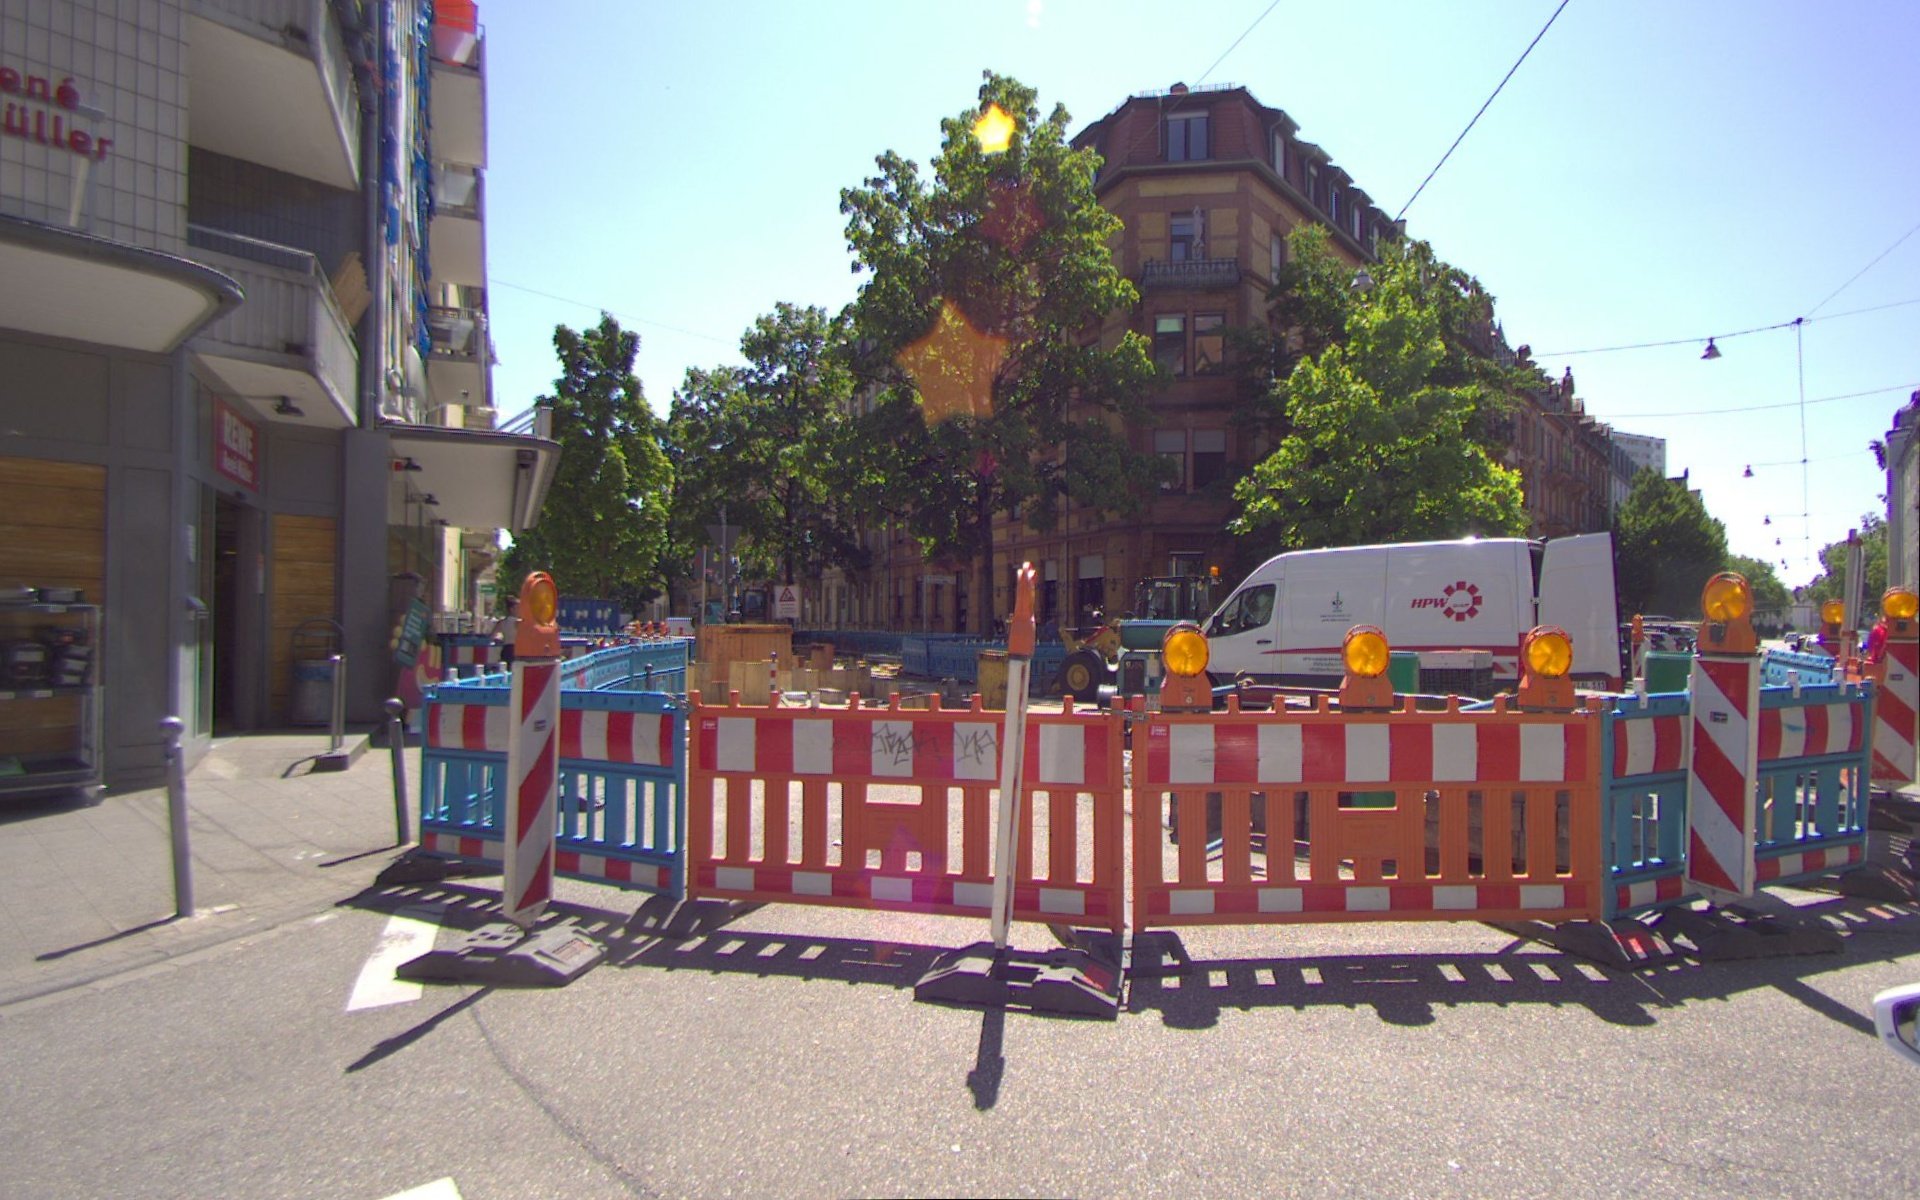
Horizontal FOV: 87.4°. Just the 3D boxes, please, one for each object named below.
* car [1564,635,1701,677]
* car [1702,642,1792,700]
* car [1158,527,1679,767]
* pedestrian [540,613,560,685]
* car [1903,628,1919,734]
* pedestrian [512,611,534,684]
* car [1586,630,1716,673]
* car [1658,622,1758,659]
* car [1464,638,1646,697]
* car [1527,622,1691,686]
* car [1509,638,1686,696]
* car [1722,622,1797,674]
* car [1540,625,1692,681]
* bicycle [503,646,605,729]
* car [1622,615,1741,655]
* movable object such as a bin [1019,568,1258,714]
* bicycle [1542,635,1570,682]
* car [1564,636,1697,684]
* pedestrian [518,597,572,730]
[{"bbox_3d":[25.003,2.068,37.451,3.845,1.489,1.866,1,-1,1],"label":"car"},{"bbox_3d":[21.885,1.908,27.875,1.735,1.463,3.979,-2,-3,41],"label":"car"},{"bbox_3d":[6.399,0.534,14.801,6.550,2.788,2.366,1,-1,43],"label":"car"},{"bbox_3d":[-11.744,1.391,28.779,0.498,2.040,0.444,1,-1,-24],"label":"pedestrian"},{"bbox_3d":[15.022,1.192,14.709,1.504,1.541,3.249,-1,-2,39],"label":"car"},{"bbox_3d":[-12.401,1.332,28.494,0.538,2.040,0.411,1,-1,-24],"label":"pedestrian"},{"bbox_3d":[27.305,2.027,39.789,3.845,1.640,1.866,0,-1,1],"label":"car"},{"bbox_3d":[45.923,2.476,61.789,4.480,2.216,2.001,0,-1,15],"label":"car"},{"bbox_3d":[16.442,1.831,27.972,3.919,1.394,2.001,2,0,13],"label":"car"},{"bbox_3d":[20.375,1.663,31.689,3.919,1.828,1.770,2,0,12],"label":"car"},{"bbox_3d":[18.631,1.935,29.548,3.919,1.431,1.972,2,0,10],"label":"car"},{"bbox_3d":[27.814,1.664,34.901,1.735,1.666,4.355,-5,-5,41],"label":"car"},{"bbox_3d":[21.952,1.731,33.782,3.921,1.680,1.760,1,0,19],"label":"car"},{"bbox_3d":[-5.636,1.195,13.933,1.545,1.086,0.342,-1,-2,25],"label":"bicycle"},{"bbox_3d":[38.095,1.828,53.158,4.692,2.020,2.055,0,-1,13],"label":"car"},{"bbox_3d":[3.627,0.795,20.786,4.486,2.694,1.947,0,-1,38],"label":"movable object such as a bin"},{"bbox_3d":[14.623,1.412,24.676,0.483,1.096,1.896,1,-1,28],"label":"bicycle"},{"bbox_3d":[23.555,2.088,35.396,3.559,1.477,1.625,1,0,19],"label":"car"},{"bbox_3d":[-5.554,0.842,13.464,0.579,1.738,0.390,0,-1,-9],"label":"pedestrian"}]
